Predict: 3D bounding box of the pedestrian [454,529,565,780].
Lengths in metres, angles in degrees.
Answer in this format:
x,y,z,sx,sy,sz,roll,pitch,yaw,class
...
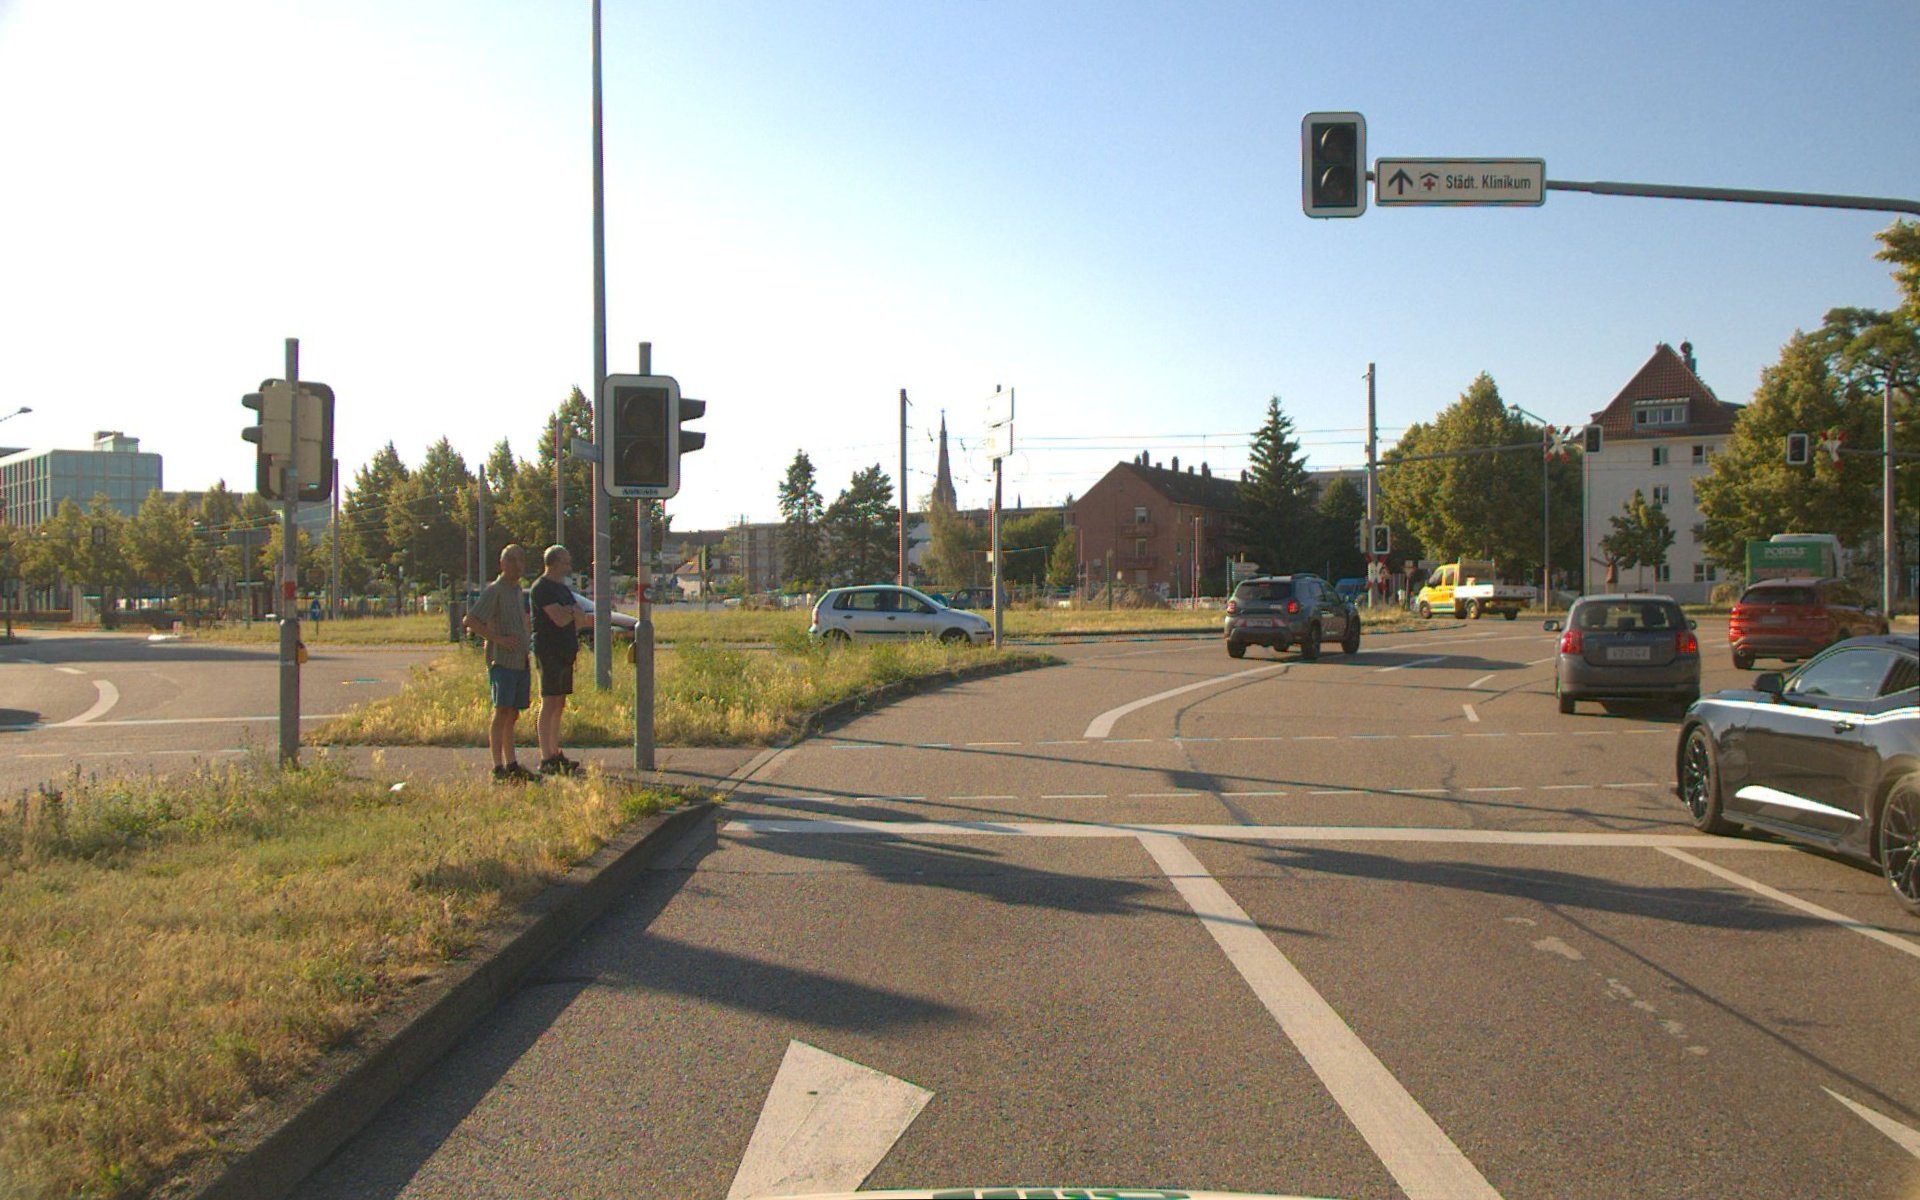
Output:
x,y,z,sx,sy,sz,roll,pitch,yaw,class
-3.472,0.409,12.769,0.476,1.876,0.719,-1,0,20,pedestrian

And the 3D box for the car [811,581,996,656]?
x,y,z,sx,sy,sz,roll,pitch,yaw,class
-1.113,0.361,34.211,3.669,1.459,1.836,-1,0,2,car

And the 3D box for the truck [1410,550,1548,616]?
x,y,z,sx,sy,sz,roll,pitch,yaw,class
21.744,-0.699,69.647,2.538,2.602,6.224,-1,0,-16,truck

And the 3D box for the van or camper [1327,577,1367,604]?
x,y,z,sx,sy,sz,roll,pitch,yaw,class
32.715,-0.828,139.864,2.055,2.192,4.414,-1,0,30,van or camper

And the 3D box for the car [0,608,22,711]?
x,y,z,sx,sy,sz,roll,pitch,yaw,class
-13.786,0.854,21.859,1.642,1.400,4.126,-2,1,-19,car

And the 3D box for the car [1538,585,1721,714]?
x,y,z,sx,sy,sz,roll,pitch,yaw,class
8.609,0.580,21.547,1.710,1.499,3.823,-1,0,15,car

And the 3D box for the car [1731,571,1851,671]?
x,y,z,sx,sy,sz,roll,pitch,yaw,class
15.099,0.311,29.975,1.715,1.649,3.812,1,2,30,car

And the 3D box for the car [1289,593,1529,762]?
x,y,z,sx,sy,sz,roll,pitch,yaw,class
4.825,0.756,18.306,1.569,1.638,4.000,-1,0,0,car

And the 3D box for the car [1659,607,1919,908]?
x,y,z,sx,sy,sz,roll,pitch,yaw,class
5.576,0.773,9.097,1.815,1.361,4.628,0,1,4,car

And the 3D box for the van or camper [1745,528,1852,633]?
x,y,z,sx,sy,sz,roll,pitch,yaw,class
23.201,-0.519,45.625,2.242,2.675,6.569,1,0,30,van or camper

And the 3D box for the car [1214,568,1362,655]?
x,y,z,sx,sy,sz,roll,pitch,yaw,class
6.792,0.217,33.964,1.869,1.689,3.994,-1,0,29,car

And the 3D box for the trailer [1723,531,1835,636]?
x,y,z,sx,sy,sz,roll,pitch,yaw,class
20.046,-0.393,40.407,2.053,2.442,3.491,1,0,33,trailer

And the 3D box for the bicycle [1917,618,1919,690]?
x,y,z,sx,sy,sz,roll,pitch,yaw,class
11.051,0.790,17.142,1.872,1.266,0.607,-2,-1,36,bicycle

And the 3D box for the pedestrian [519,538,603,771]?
x,y,z,sx,sy,sz,roll,pitch,yaw,class
-3.290,0.436,13.673,0.475,1.876,0.672,-1,0,3,pedestrian

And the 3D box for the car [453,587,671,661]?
x,y,z,sx,sy,sz,roll,pitch,yaw,class
-8.415,0.494,35.139,4.037,1.470,1.911,-1,0,10,car
